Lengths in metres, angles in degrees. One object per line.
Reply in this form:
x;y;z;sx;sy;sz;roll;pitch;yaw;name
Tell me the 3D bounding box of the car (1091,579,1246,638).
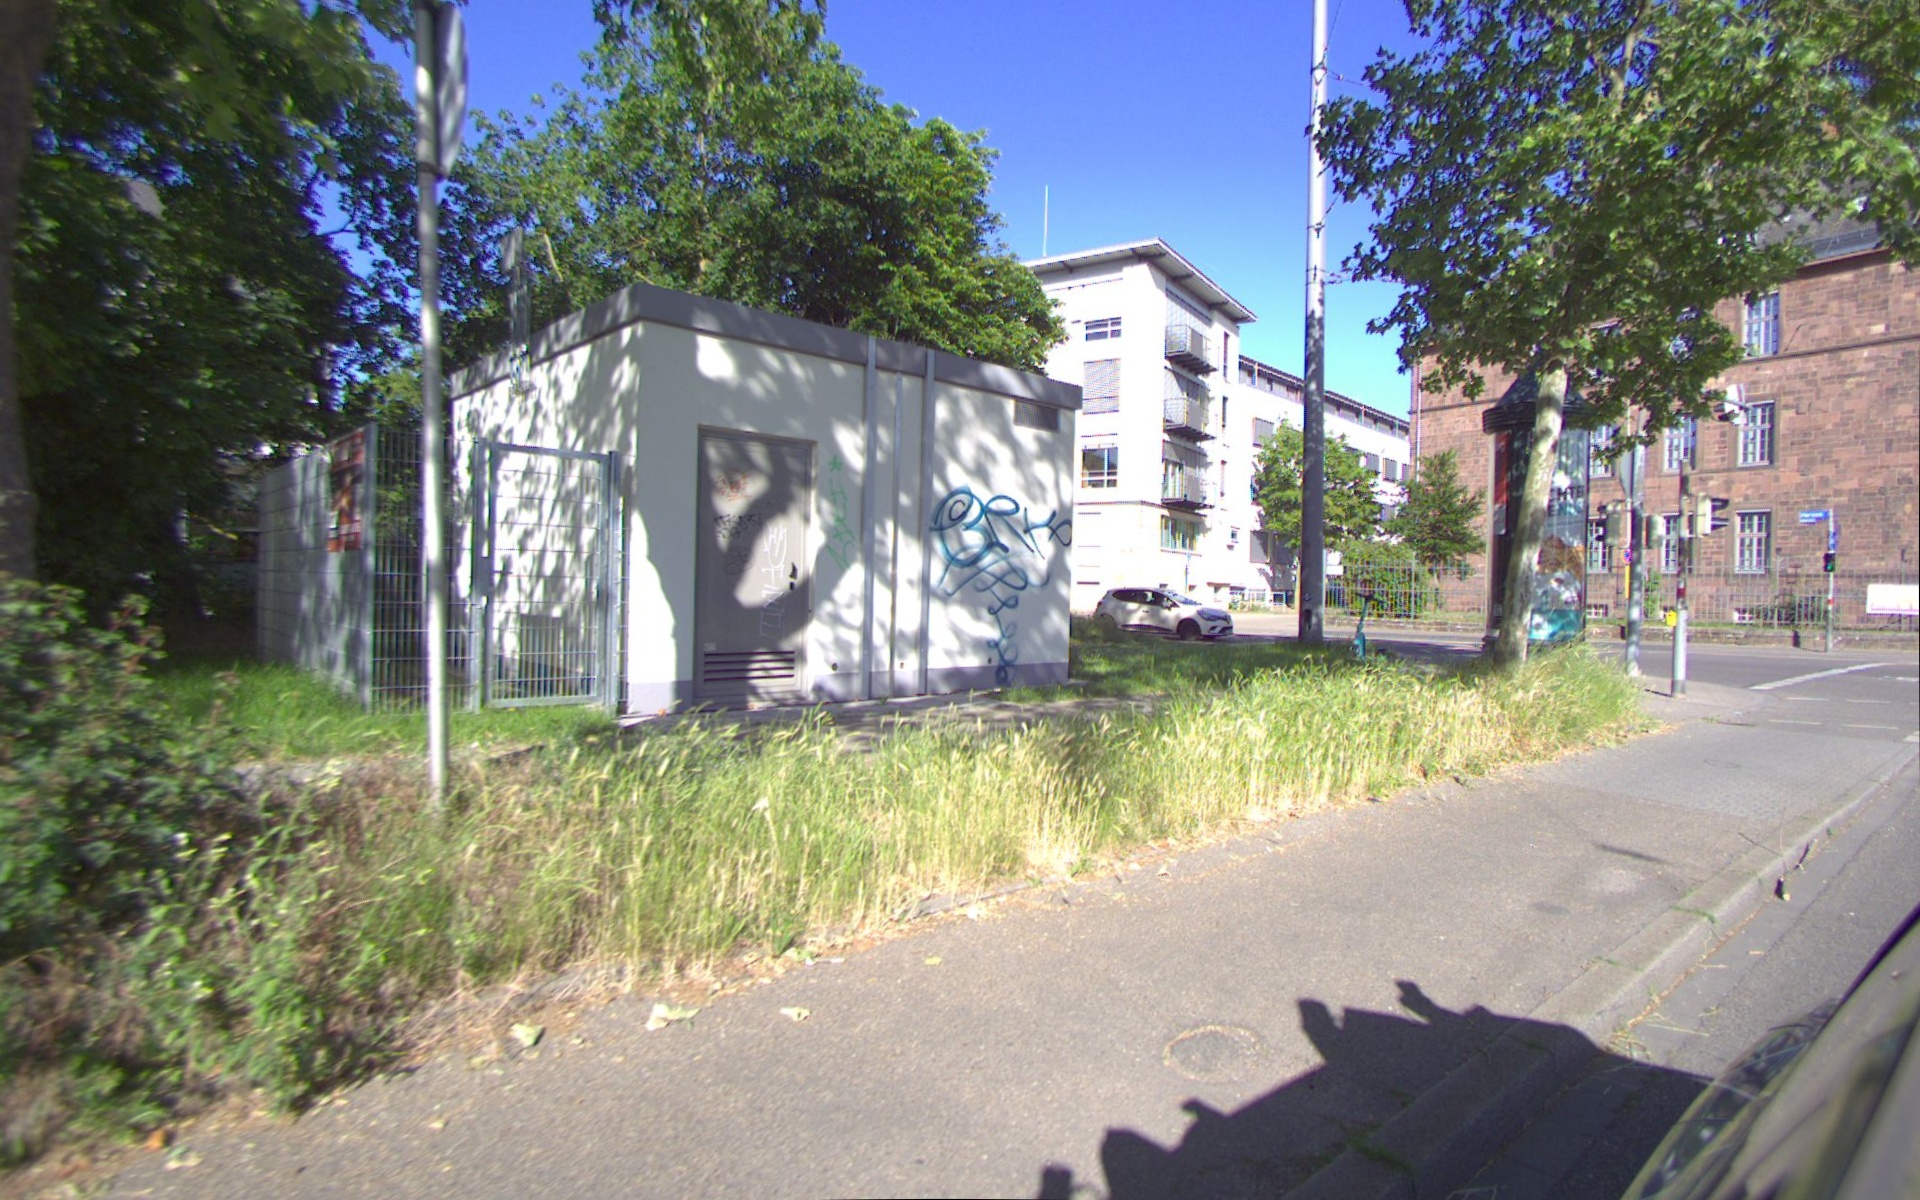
5.878;0.199;28.781;3.983;1.486;1.774;2;2;41;car
